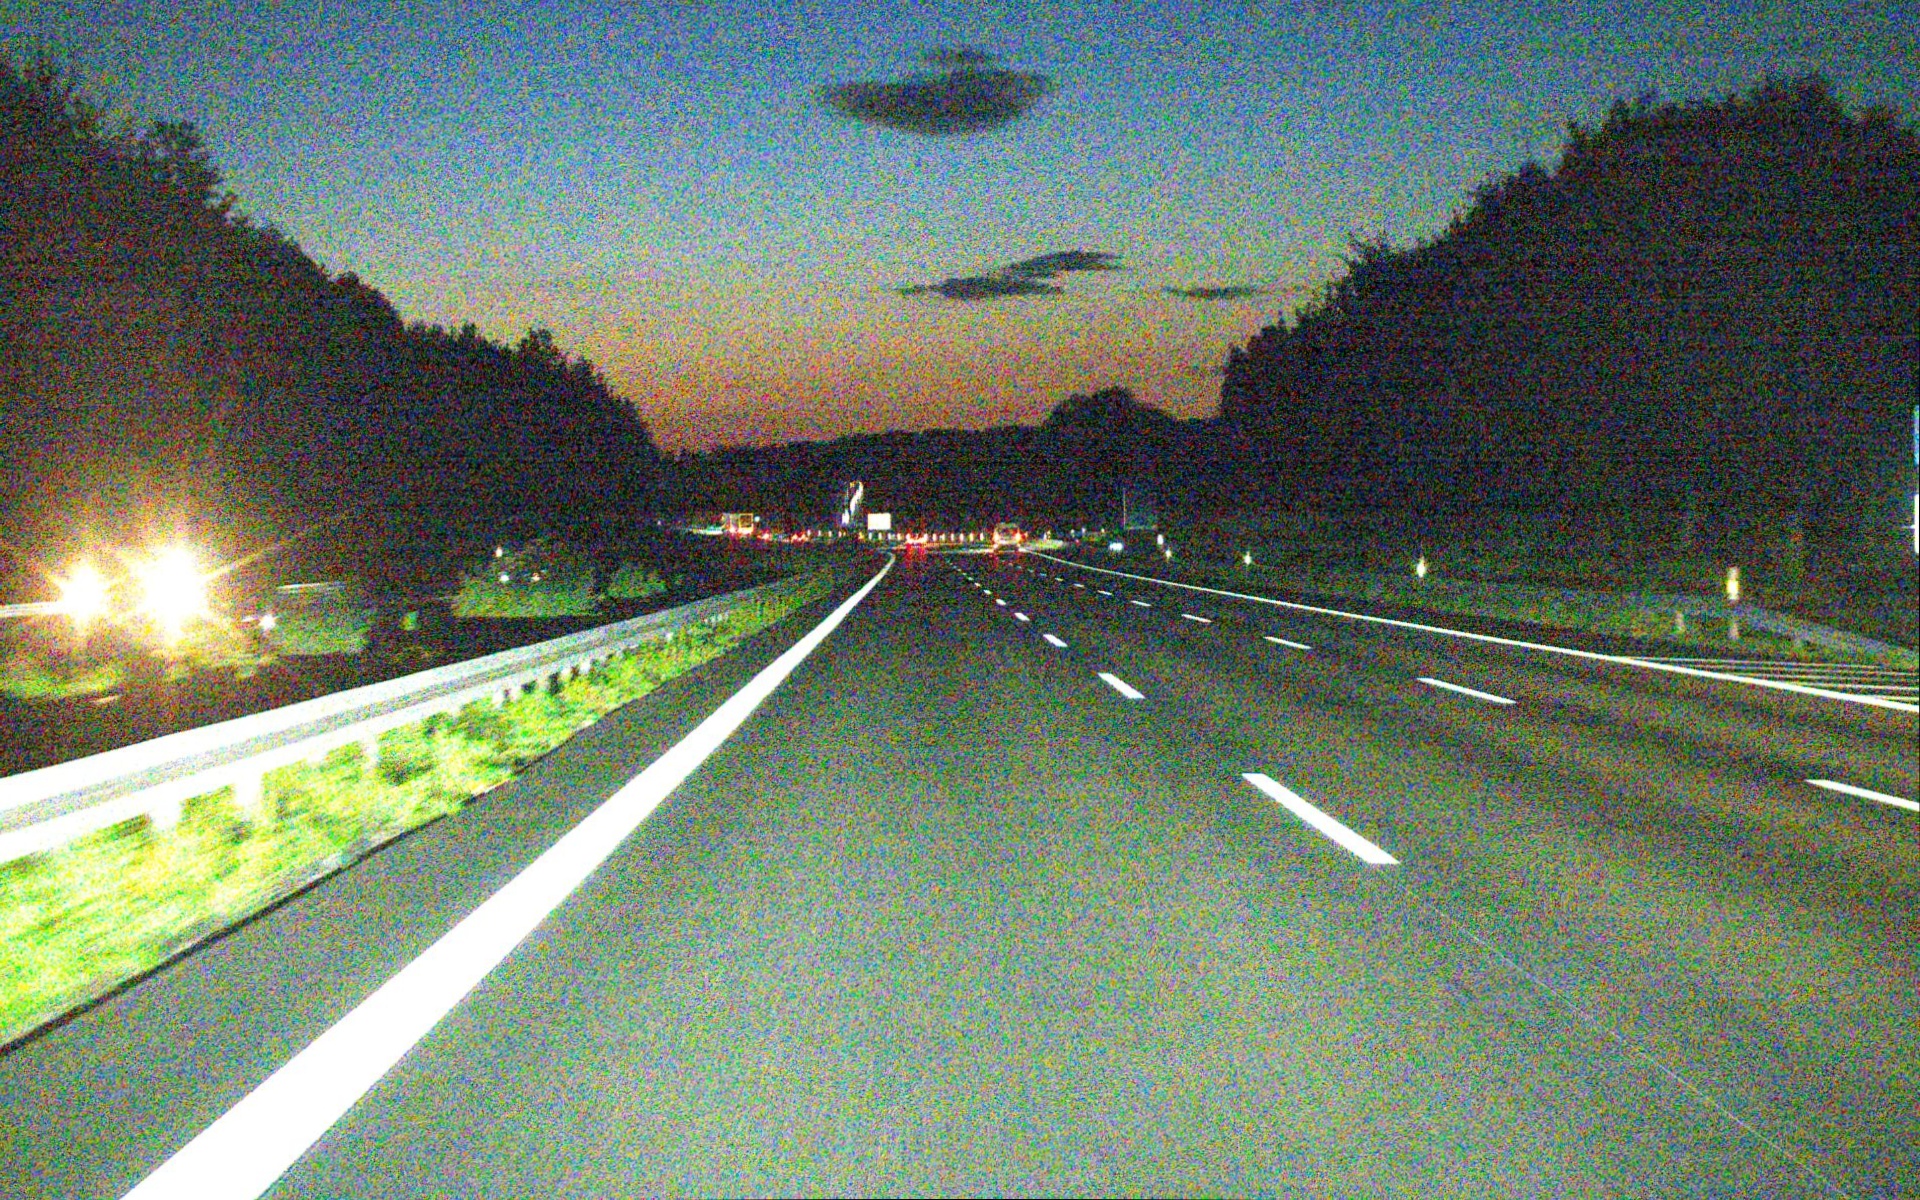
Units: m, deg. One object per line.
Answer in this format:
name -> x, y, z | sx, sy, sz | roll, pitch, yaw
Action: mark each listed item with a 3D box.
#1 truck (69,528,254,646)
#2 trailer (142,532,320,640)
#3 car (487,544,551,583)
truck -> -13.883, -0.244, 60.092 | 1.993, 1.935, 5.241 | -1, 0, 0
trailer -> -13.905, -0.315, 66.023 | 1.993, 1.933, 6.622 | -1, 1, 0
car -> -18.345, -1.536, 143.044 | 1.993, 1.498, 5.201 | -2, 1, -1
